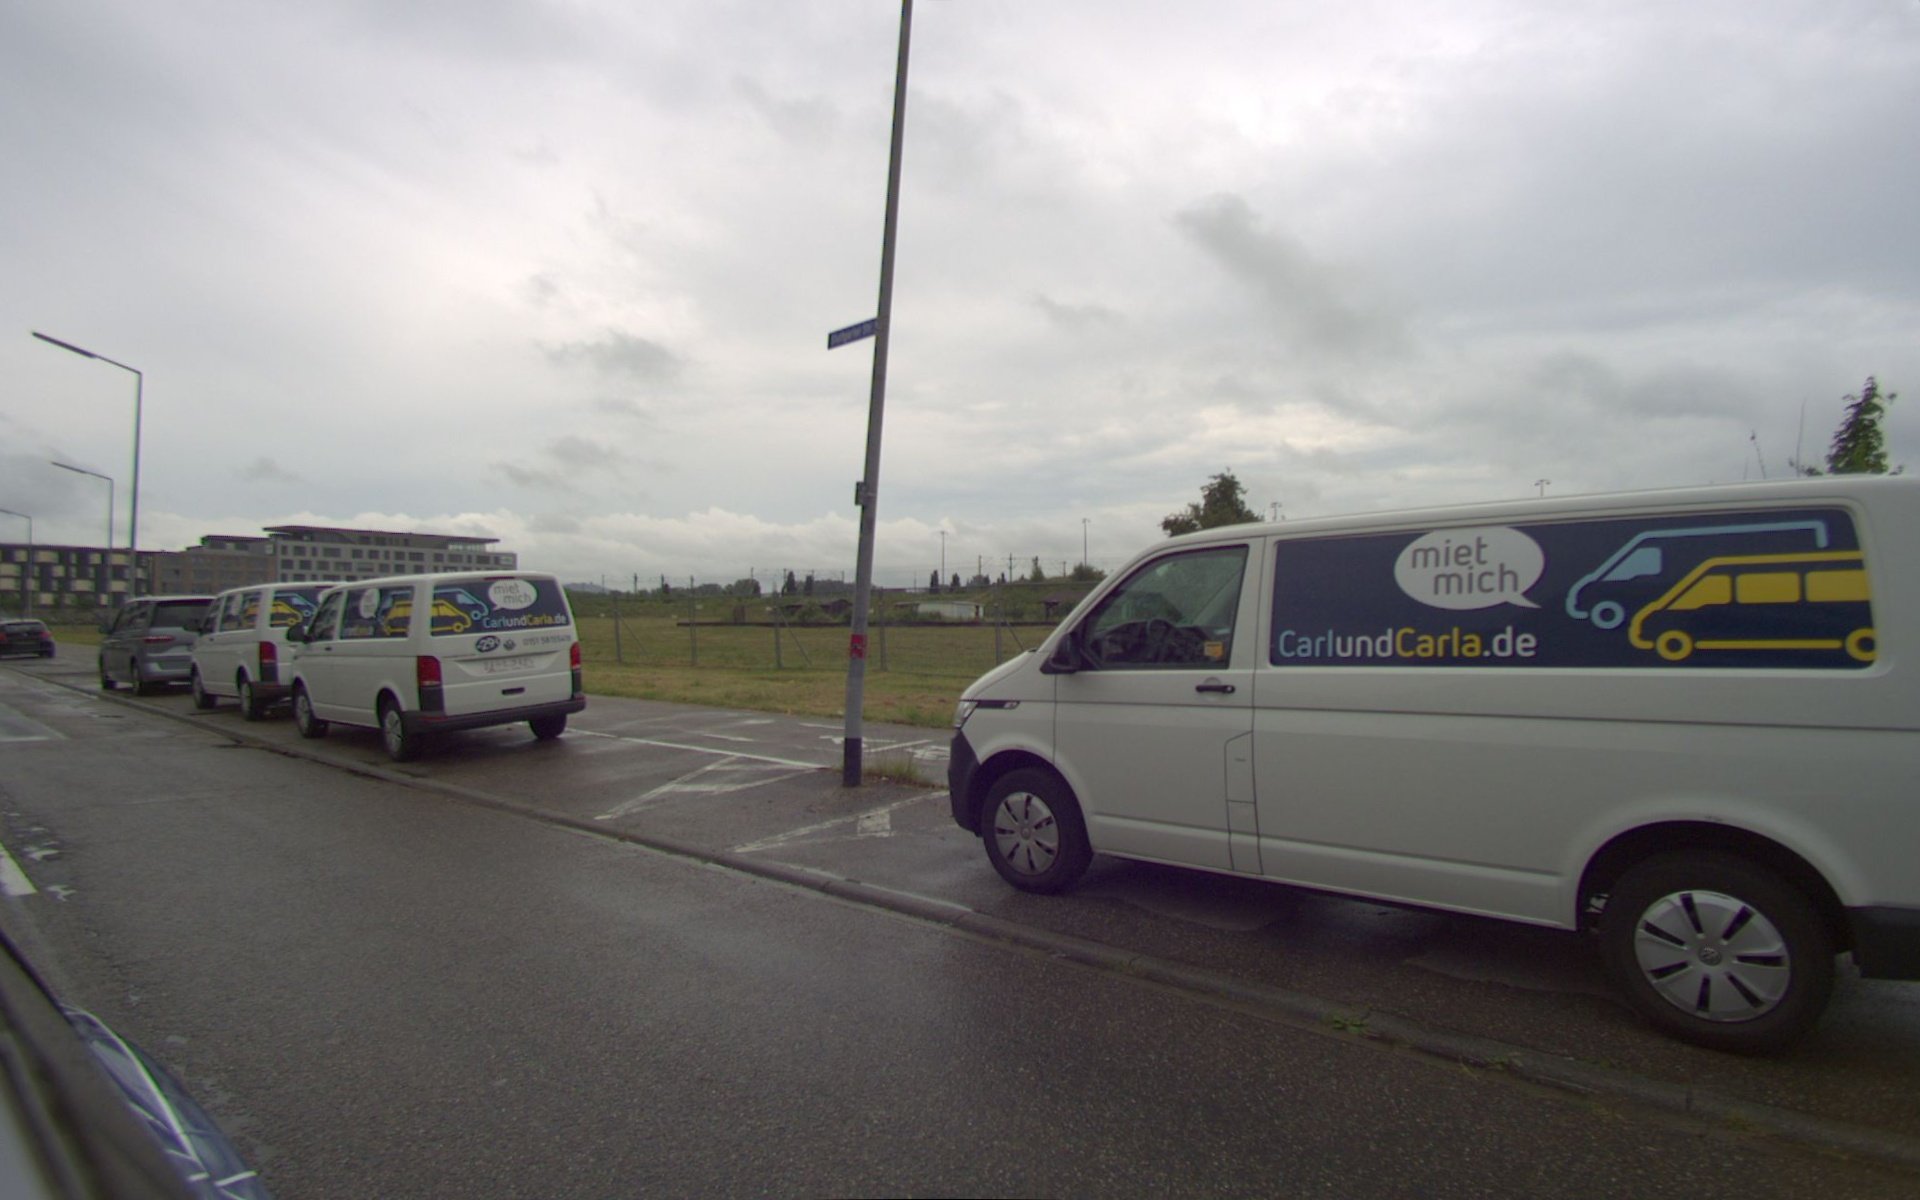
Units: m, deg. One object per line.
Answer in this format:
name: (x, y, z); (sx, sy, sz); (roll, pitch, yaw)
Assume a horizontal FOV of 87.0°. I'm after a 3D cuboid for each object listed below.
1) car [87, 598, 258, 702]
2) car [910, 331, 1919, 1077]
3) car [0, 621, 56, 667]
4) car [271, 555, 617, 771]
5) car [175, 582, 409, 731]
car: (-16.449, 0.960, 21.038); (4.993, 1.916, 1.935); (-1, -1, 42)
car: (2.431, 0.348, 4.745); (5.554, 2.253, 1.922); (-2, -2, 41)
car: (-34.892, 1.599, 37.320); (4.151, 1.573, 1.828); (-1, 1, 42)
car: (-6.390, 0.645, 12.189); (5.272, 2.074, 1.939); (-1, -1, 42)
car: (-10.878, 0.828, 16.298); (5.256, 2.029, 1.875); (-1, -2, 42)
